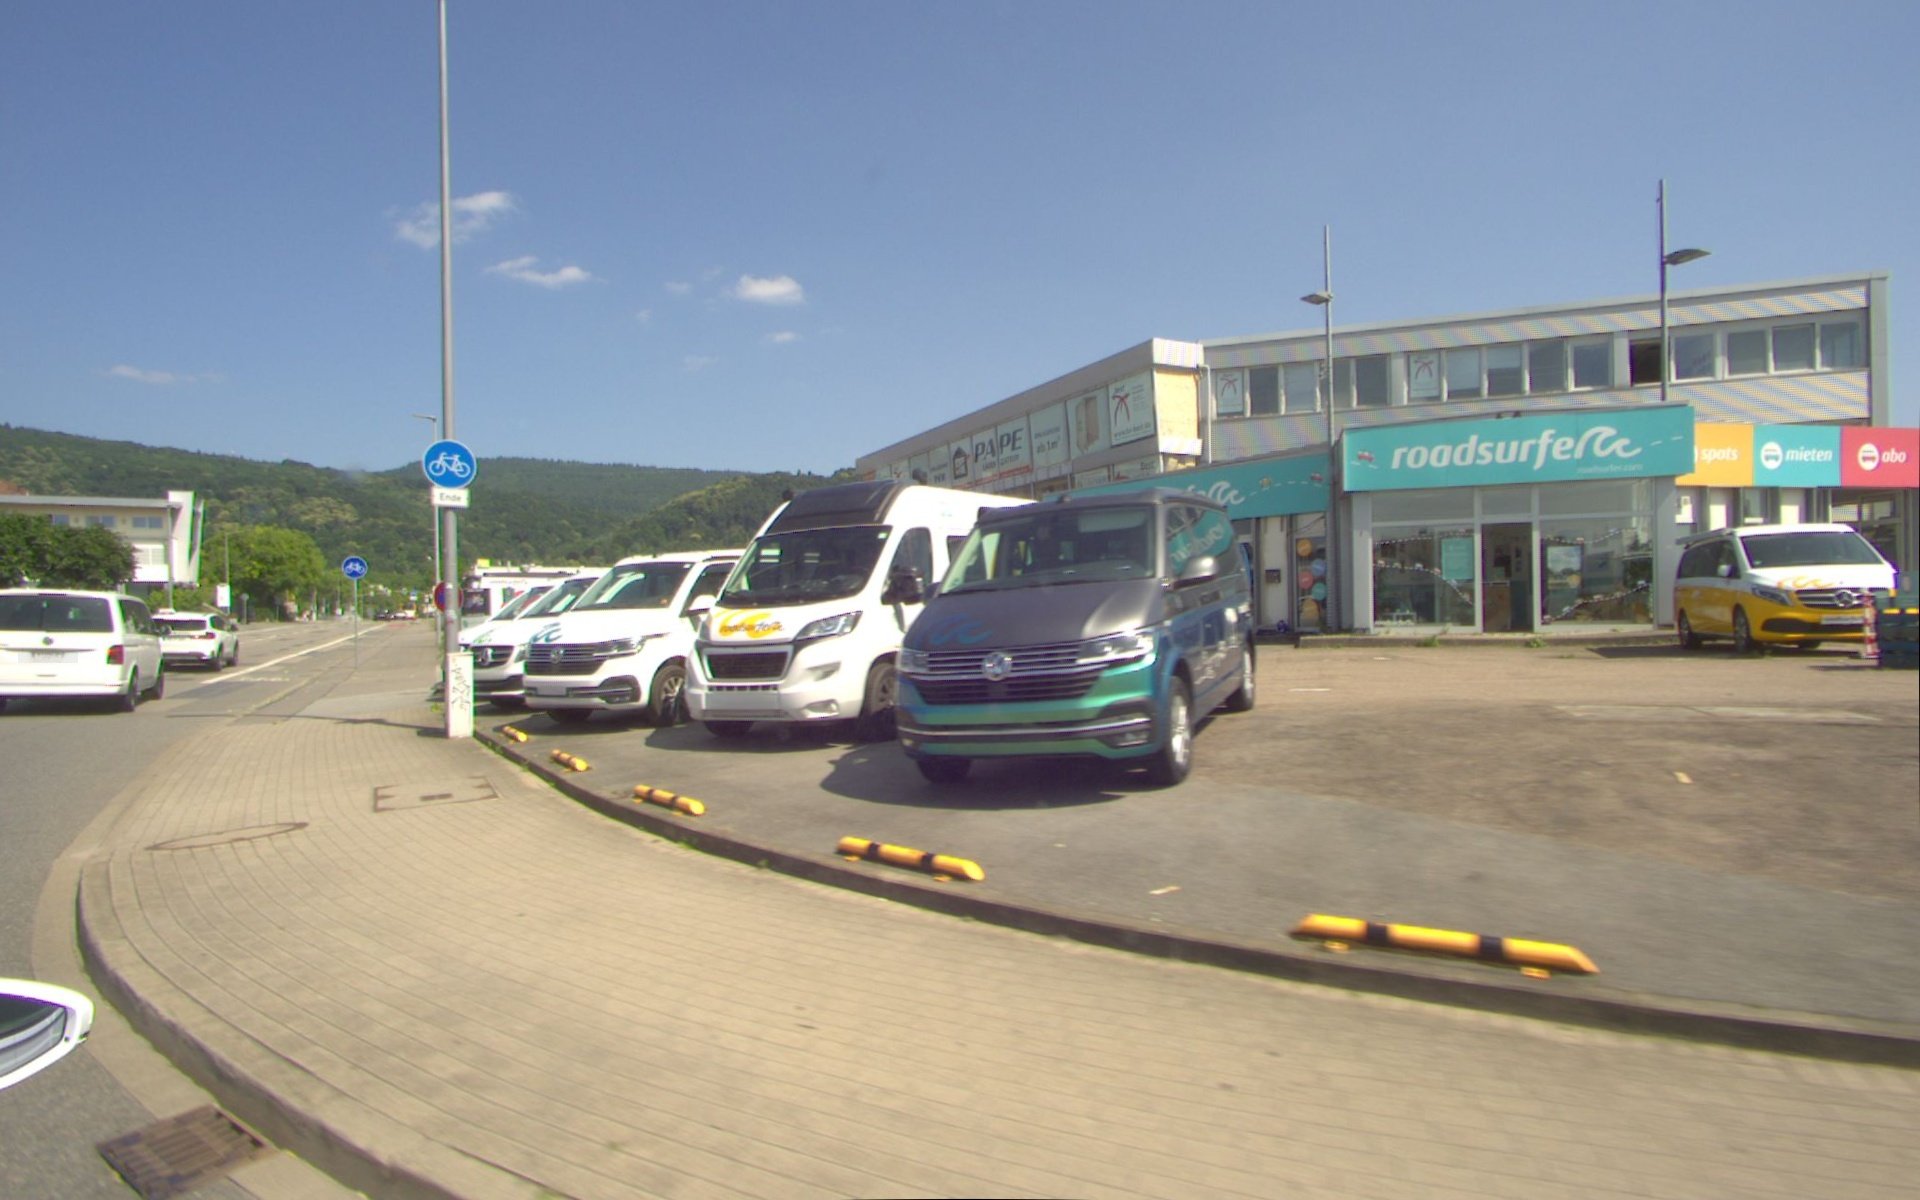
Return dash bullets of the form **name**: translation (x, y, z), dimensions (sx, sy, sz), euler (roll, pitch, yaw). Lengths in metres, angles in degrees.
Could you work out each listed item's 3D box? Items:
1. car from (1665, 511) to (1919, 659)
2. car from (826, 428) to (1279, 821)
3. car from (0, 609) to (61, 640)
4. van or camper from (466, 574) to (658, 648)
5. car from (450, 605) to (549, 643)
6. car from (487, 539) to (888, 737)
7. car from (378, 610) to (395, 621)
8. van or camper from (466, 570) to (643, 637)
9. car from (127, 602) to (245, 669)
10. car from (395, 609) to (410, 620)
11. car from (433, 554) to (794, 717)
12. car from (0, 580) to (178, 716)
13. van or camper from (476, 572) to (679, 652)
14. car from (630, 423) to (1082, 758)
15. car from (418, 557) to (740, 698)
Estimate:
- **car**: translation (12.779, -0.178, 15.466), dimensions (2.063, 1.901, 5.087), euler (-1, 0, 23)
- **car**: translation (1.206, 0.100, 8.255), dimensions (2.063, 2.142, 5.208), euler (-3, 1, 24)
- **car**: translation (-49.298, 1.275, 52.798), dimensions (3.605, 1.605, 1.743), euler (-1, 0, 29)
- **van or camper**: translation (-15.173, 0.411, 38.178), dimensions (6.525, 2.595, 3.737), euler (0, -1, -26)
- **car**: translation (-22.347, 1.170, 48.655), dimensions (4.248, 1.774, 1.971), euler (0, -2, -26)
- **car**: translation (-3.166, 0.407, 12.959), dimensions (1.994, 2.026, 5.138), euler (-1, 0, 28)
- **car**: translation (-73.670, 2.005, 128.596), dimensions (1.698, 1.320, 3.981), euler (-1, 0, -28)
- **van or camper**: translation (-16.809, 0.167, 41.538), dimensions (6.525, 2.595, 3.386), euler (0, 0, -26)
- **car**: translation (-21.814, 0.983, 28.403), dimensions (1.971, 1.729, 3.981), euler (3, -2, -29)
- **car**: translation (-88.882, 2.325, 159.760), dimensions (1.970, 1.706, 3.981), euler (-1, 0, -28)
- **car**: translation (-4.971, 0.428, 15.243), dimensions (1.903, 2.040, 5.121), euler (-1, 1, 32)
- **car**: translation (-15.312, 0.766, 17.390), dimensions (2.140, 2.039, 4.989), euler (2, -2, -32)
- **van or camper**: translation (-13.443, 0.395, 35.224), dimensions (6.425, 2.595, 2.962), euler (0, 0, -27)
- **car**: translation (-0.687, -0.067, 11.514), dimensions (2.270, 2.753, 6.135), euler (0, 0, 26)
- **car**: translation (-6.499, 0.474, 17.756), dimensions (2.021, 2.121, 5.131), euler (-2, -2, 32)
